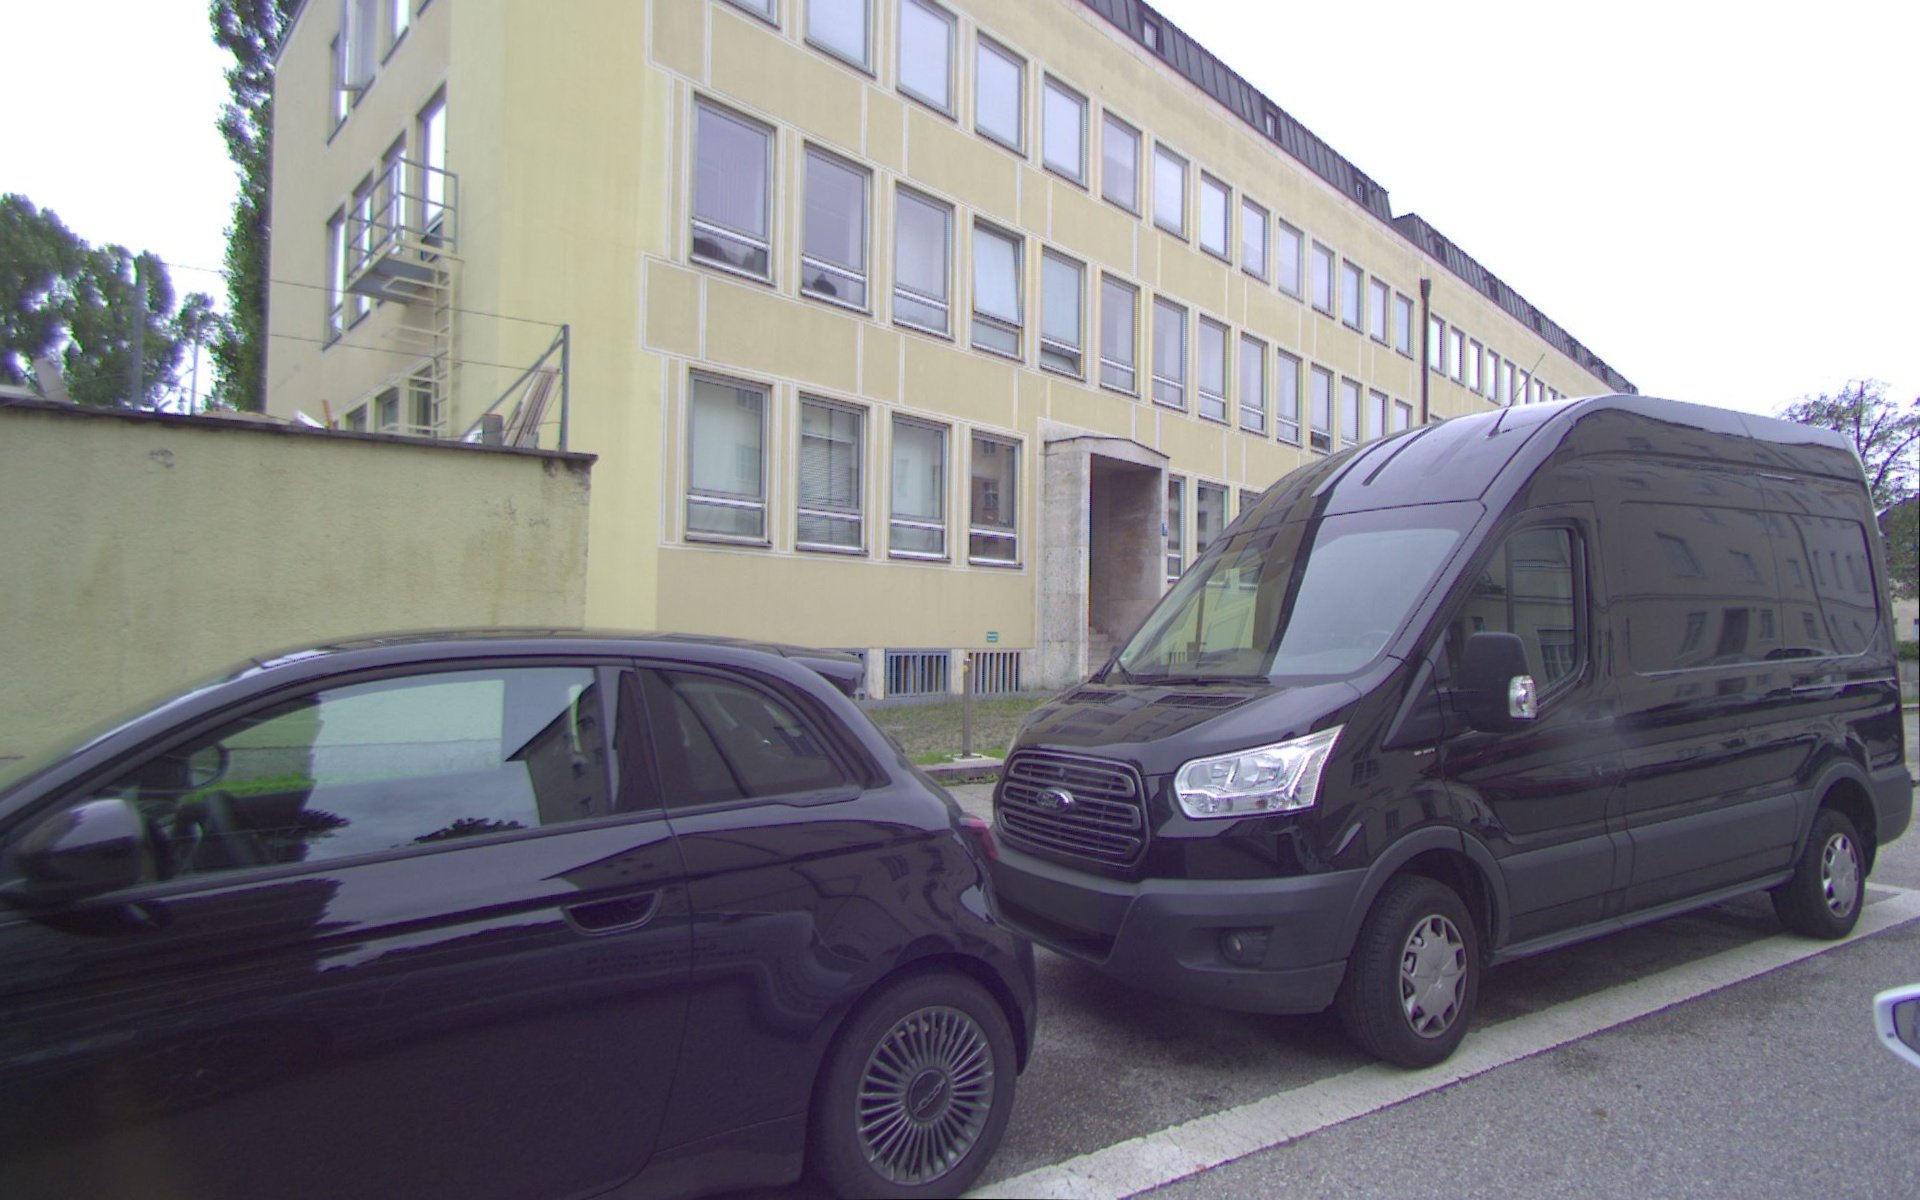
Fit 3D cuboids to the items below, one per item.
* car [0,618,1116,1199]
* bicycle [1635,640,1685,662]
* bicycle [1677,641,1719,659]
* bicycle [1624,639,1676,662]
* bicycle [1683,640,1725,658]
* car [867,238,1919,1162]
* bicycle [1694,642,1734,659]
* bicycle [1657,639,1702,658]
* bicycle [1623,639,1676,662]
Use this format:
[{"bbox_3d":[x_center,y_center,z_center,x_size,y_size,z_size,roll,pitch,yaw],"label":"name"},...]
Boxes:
[{"bbox_3d":[-1.442,0.822,2.571,3.456,1.513,1.690,2,-2,-35],"label":"car"},{"bbox_3d":[34.285,2.495,49.237,0.621,1.028,1.928,2,-2,-44],"label":"bicycle"},{"bbox_3d":[43.991,2.972,59.871,0.620,1.028,1.930,2,-2,-40],"label":"bicycle"},{"bbox_3d":[32.456,2.357,47.264,0.621,1.028,1.928,2,-2,-44],"label":"bicycle"},{"bbox_3d":[43.675,2.867,59.003,1.926,1.028,0.622,-1,-2,43],"label":"bicycle"},{"bbox_3d":[2.517,0.386,5.305,5.585,2.680,2.288,2,-3,-29],"label":"car"},{"bbox_3d":[46.384,3.106,61.813,0.621,1.028,1.927,2,-2,-44],"label":"bicycle"},{"bbox_3d":[39.554,2.664,55.260,0.620,1.028,1.933,2,-2,-37],"label":"bicycle"},{"bbox_3d":[31.970,2.320,46.587,0.620,1.028,1.930,2,-2,-40],"label":"bicycle"}]
